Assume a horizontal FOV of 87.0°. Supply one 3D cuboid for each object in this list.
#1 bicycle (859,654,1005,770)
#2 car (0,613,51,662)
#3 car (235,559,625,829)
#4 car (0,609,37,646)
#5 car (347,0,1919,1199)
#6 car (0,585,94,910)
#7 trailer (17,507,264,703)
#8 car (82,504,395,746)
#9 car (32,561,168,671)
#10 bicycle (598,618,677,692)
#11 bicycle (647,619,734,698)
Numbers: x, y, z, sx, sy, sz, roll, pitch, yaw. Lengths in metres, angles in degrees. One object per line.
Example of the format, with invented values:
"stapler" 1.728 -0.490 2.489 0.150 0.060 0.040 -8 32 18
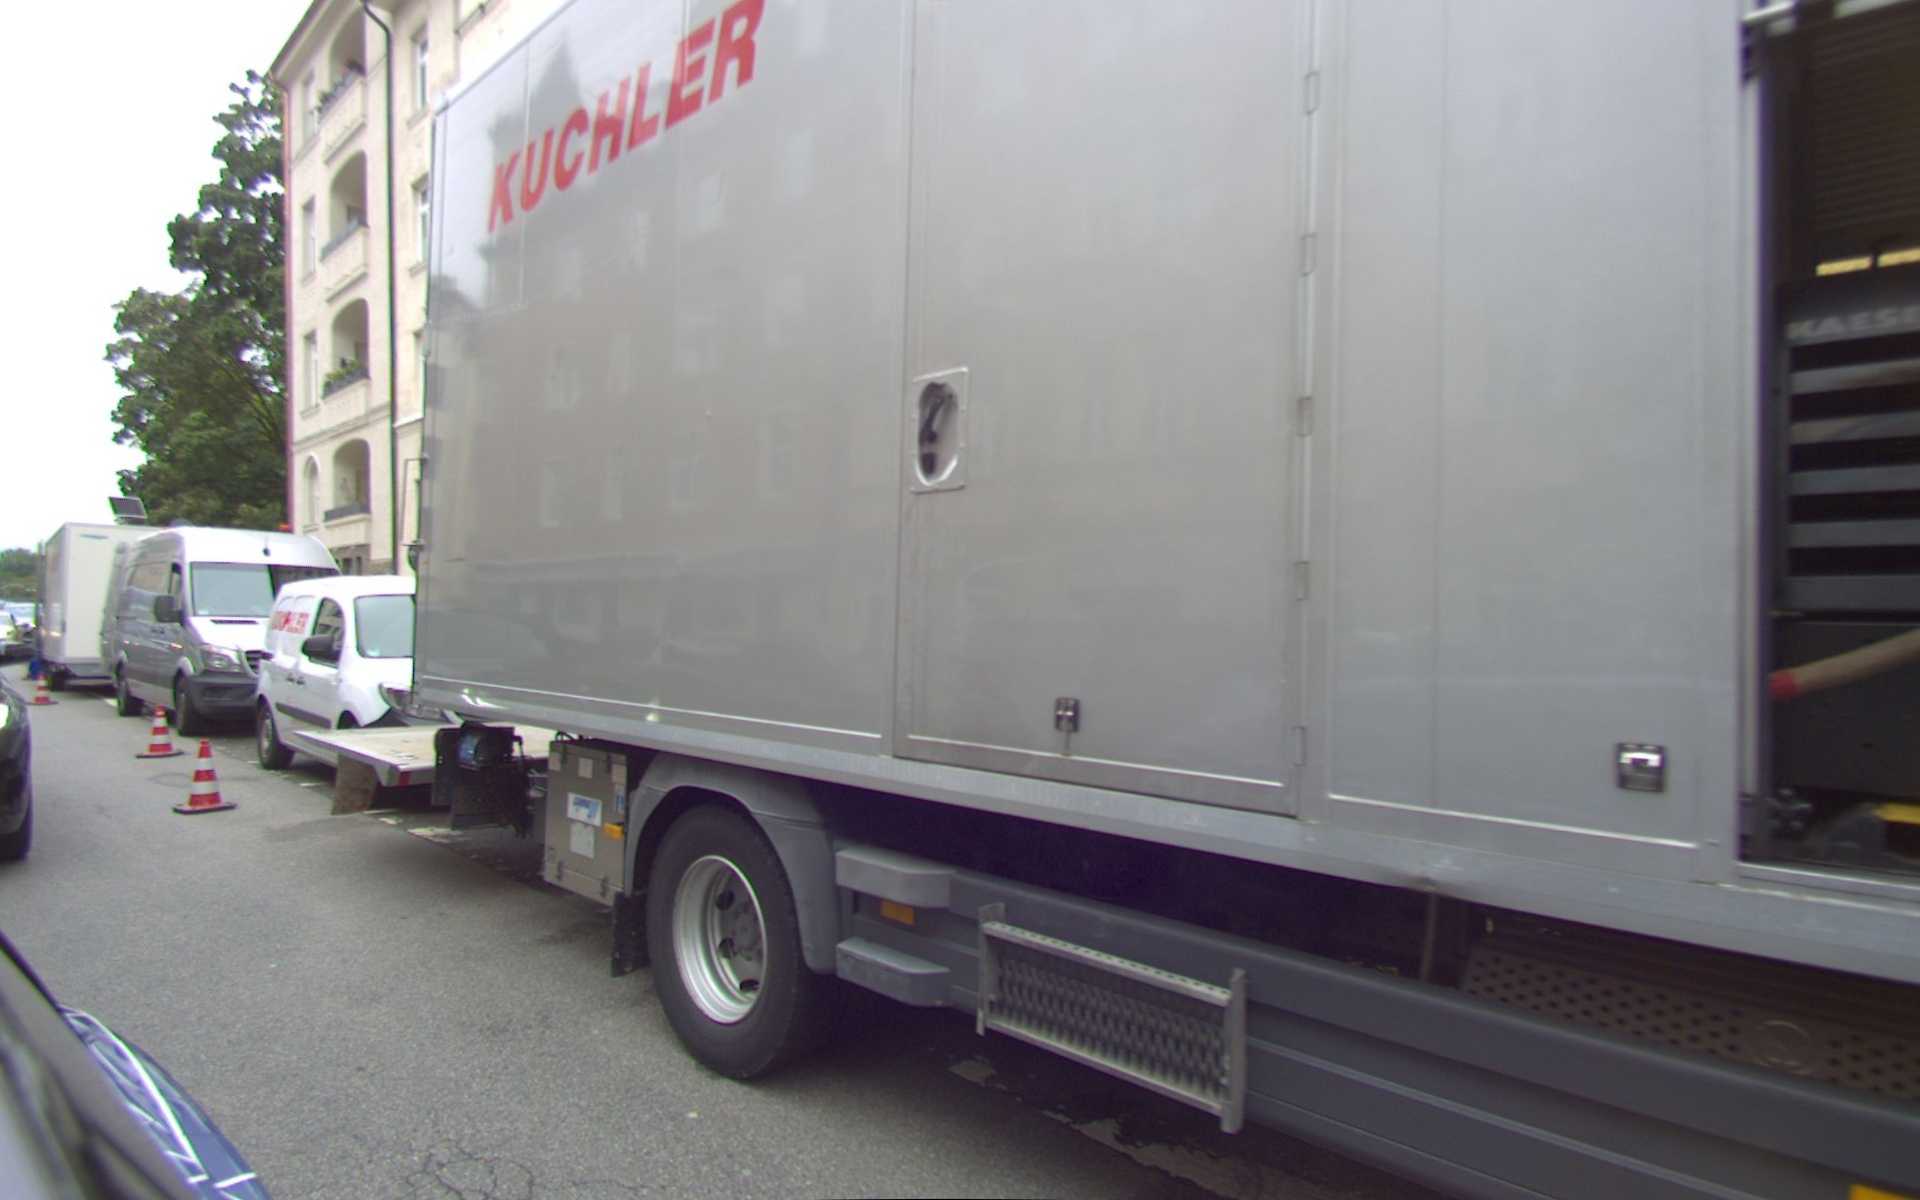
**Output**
"bicycle" -0.345 1.219 11.373 1.766 1.112 0.501 0 2 43
"car" -34.104 1.301 36.407 1.792 1.601 4.167 6 -4 -44
"car" -4.826 0.672 8.898 4.328 1.792 1.743 -1 -2 44
"car" -40.949 1.134 43.423 1.791 1.474 4.170 6 -4 -41
"car" 1.109 -0.518 3.046 8.723 3.846 2.782 -1 -1 43
"car" -6.707 0.705 5.772 4.288 1.577 1.898 0 -1 38
"trailer" -15.694 0.232 19.138 2.771 2.992 7.604 4 -4 -44
"car" -10.217 0.377 14.009 6.876 2.607 2.033 -1 -5 43
"car" -23.176 0.423 27.150 6.796 2.592 2.117 -1 -1 44
"bicycle" -5.227 0.859 16.346 1.743 1.112 0.423 0 0 44
"bicycle" -4.098 0.853 15.303 1.736 1.112 0.423 0 0 44
